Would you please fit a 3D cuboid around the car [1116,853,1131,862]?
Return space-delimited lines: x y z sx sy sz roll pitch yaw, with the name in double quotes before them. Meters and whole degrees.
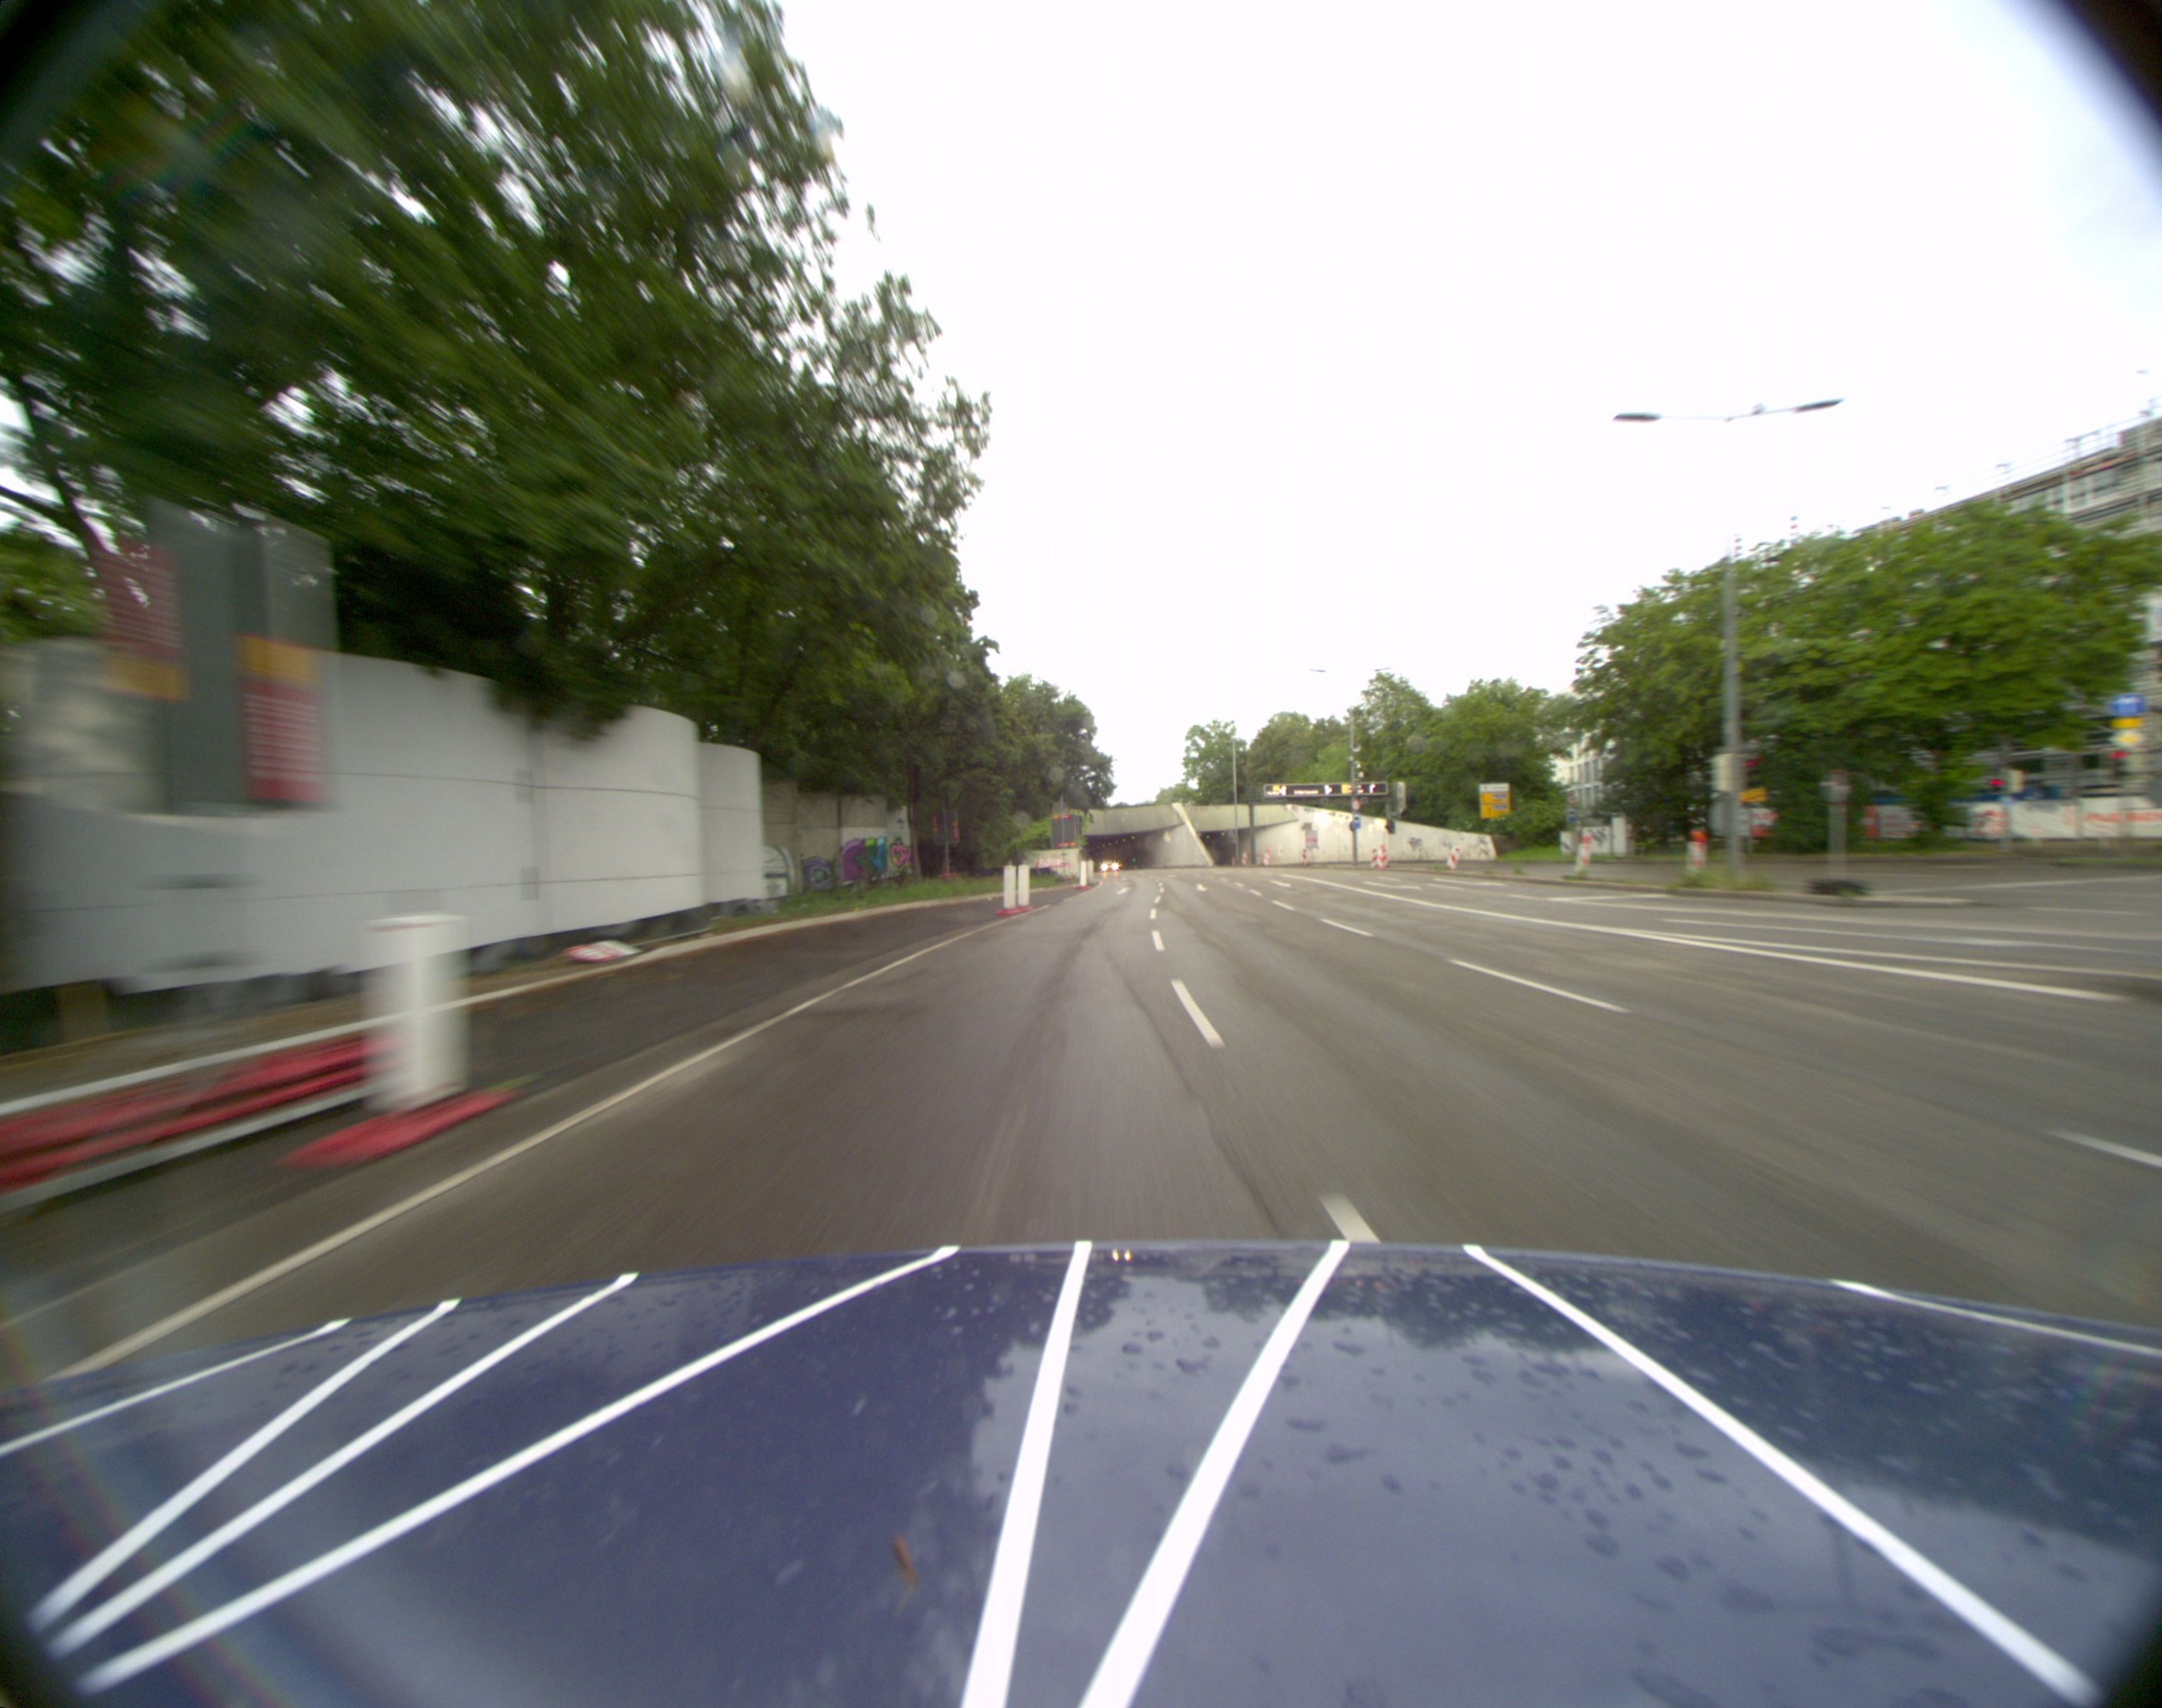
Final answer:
"car" 6.301 0.569 113.974 1.698 1.300 3.823 -2 0 -5

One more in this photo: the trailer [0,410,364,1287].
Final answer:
"trailer" -5.672 -0.003 1.603 2.312 3.568 5.961 -1 1 4

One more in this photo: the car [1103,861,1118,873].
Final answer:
"car" 3.758 1.598 97.237 1.698 1.393 3.824 -2 0 -2
